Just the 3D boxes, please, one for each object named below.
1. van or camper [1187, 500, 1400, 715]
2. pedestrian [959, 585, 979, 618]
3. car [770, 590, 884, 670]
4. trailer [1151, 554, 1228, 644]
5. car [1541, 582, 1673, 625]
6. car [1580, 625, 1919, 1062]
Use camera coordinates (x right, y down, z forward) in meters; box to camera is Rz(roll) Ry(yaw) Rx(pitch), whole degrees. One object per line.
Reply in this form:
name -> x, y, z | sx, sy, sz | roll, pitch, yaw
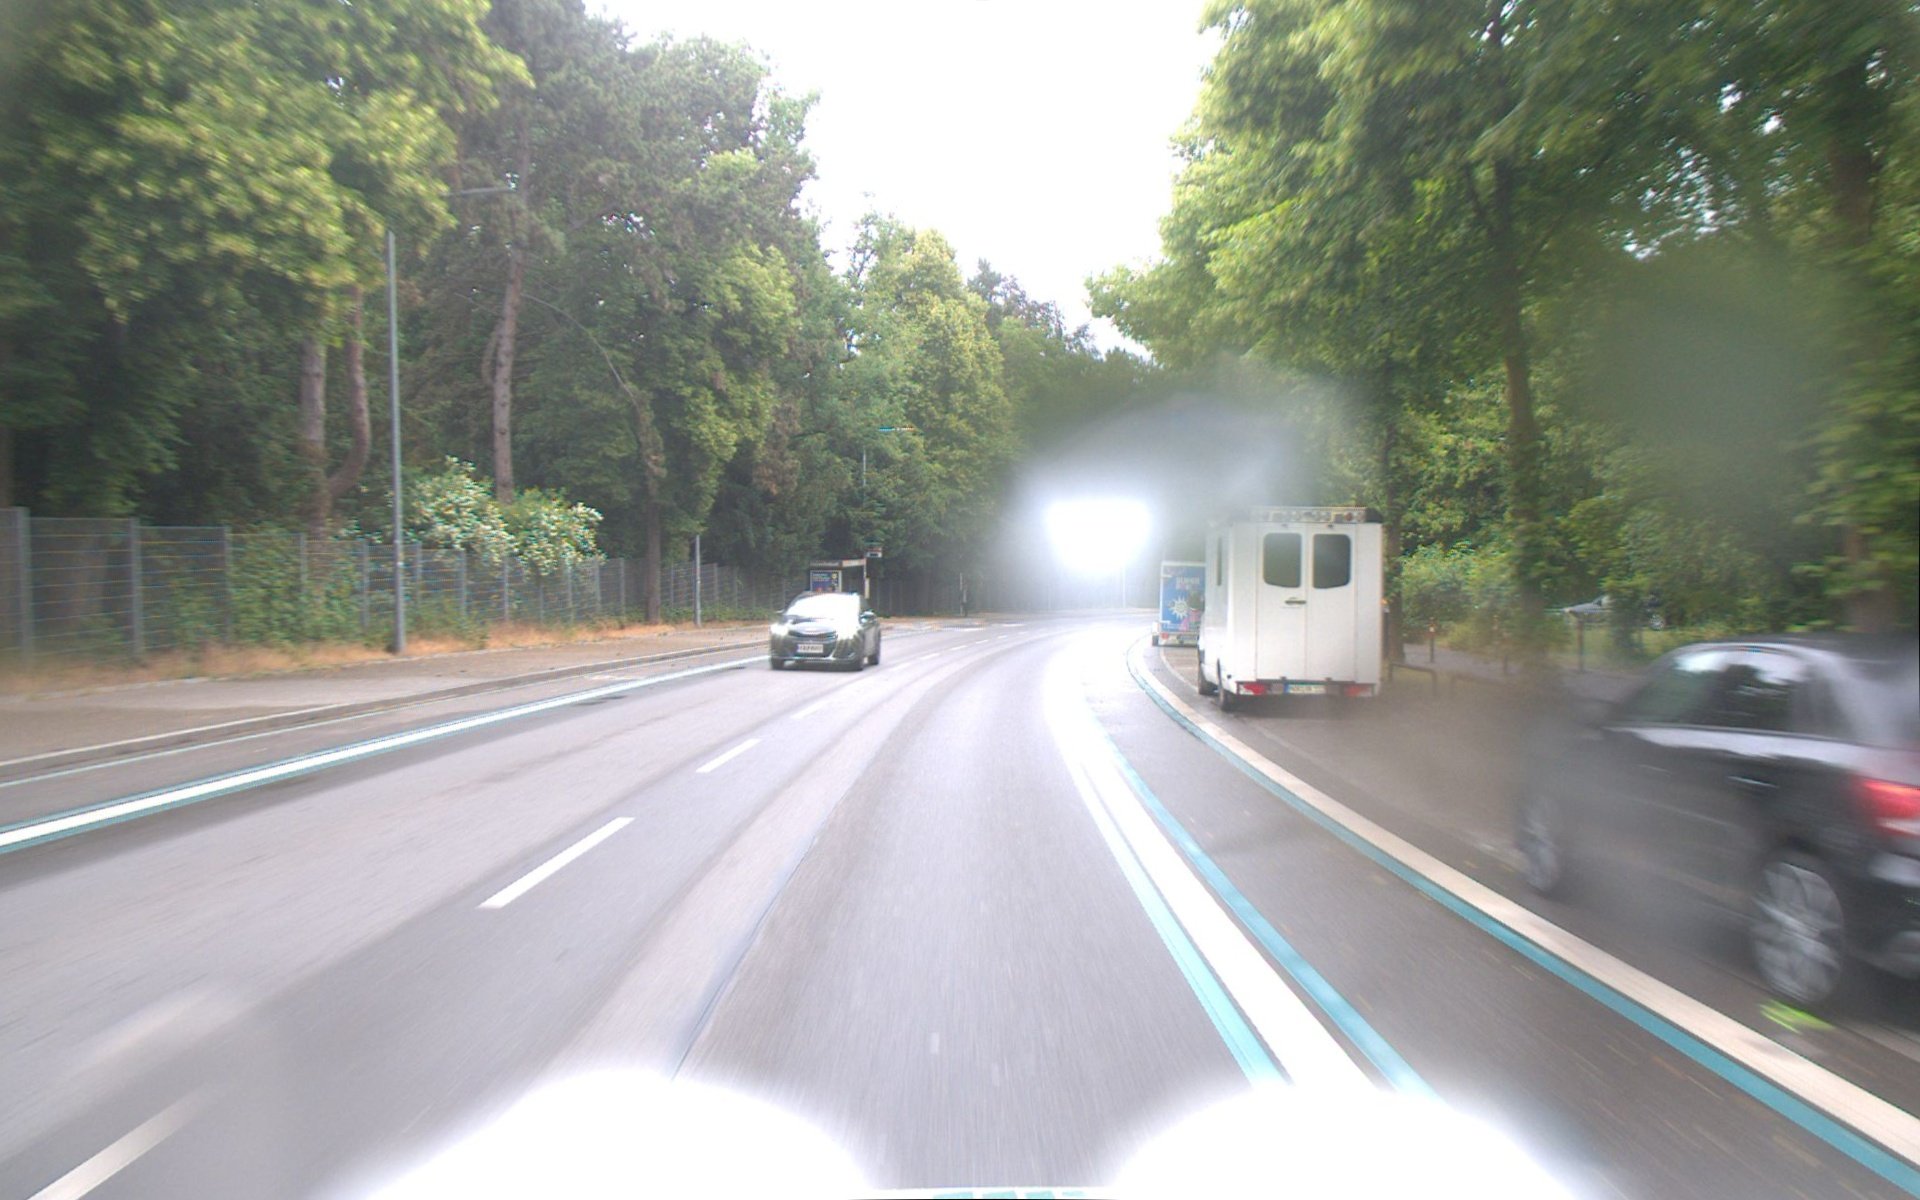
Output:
van or camper -> 4.706, 0.073, 24.367 | 2.268, 2.711, 6.386 | 1, 0, 4
pedestrian -> 0.477, 0.070, 88.095 | 0.868, 1.763, 1.147 | 1, 0, 8
car -> -2.582, 0.554, 33.059 | 1.723, 1.462, 4.152 | 1, 0, 3
trailer -> 7.363, -0.050, 53.311 | 2.267, 2.718, 5.380 | 1, 0, 7
car -> 21.929, 0.133, 56.200 | 4.050, 1.345, 1.891 | -2, -1, 19
car -> 3.928, 0.811, 6.229 | 1.644, 1.400, 3.999 | 0, -1, -1
